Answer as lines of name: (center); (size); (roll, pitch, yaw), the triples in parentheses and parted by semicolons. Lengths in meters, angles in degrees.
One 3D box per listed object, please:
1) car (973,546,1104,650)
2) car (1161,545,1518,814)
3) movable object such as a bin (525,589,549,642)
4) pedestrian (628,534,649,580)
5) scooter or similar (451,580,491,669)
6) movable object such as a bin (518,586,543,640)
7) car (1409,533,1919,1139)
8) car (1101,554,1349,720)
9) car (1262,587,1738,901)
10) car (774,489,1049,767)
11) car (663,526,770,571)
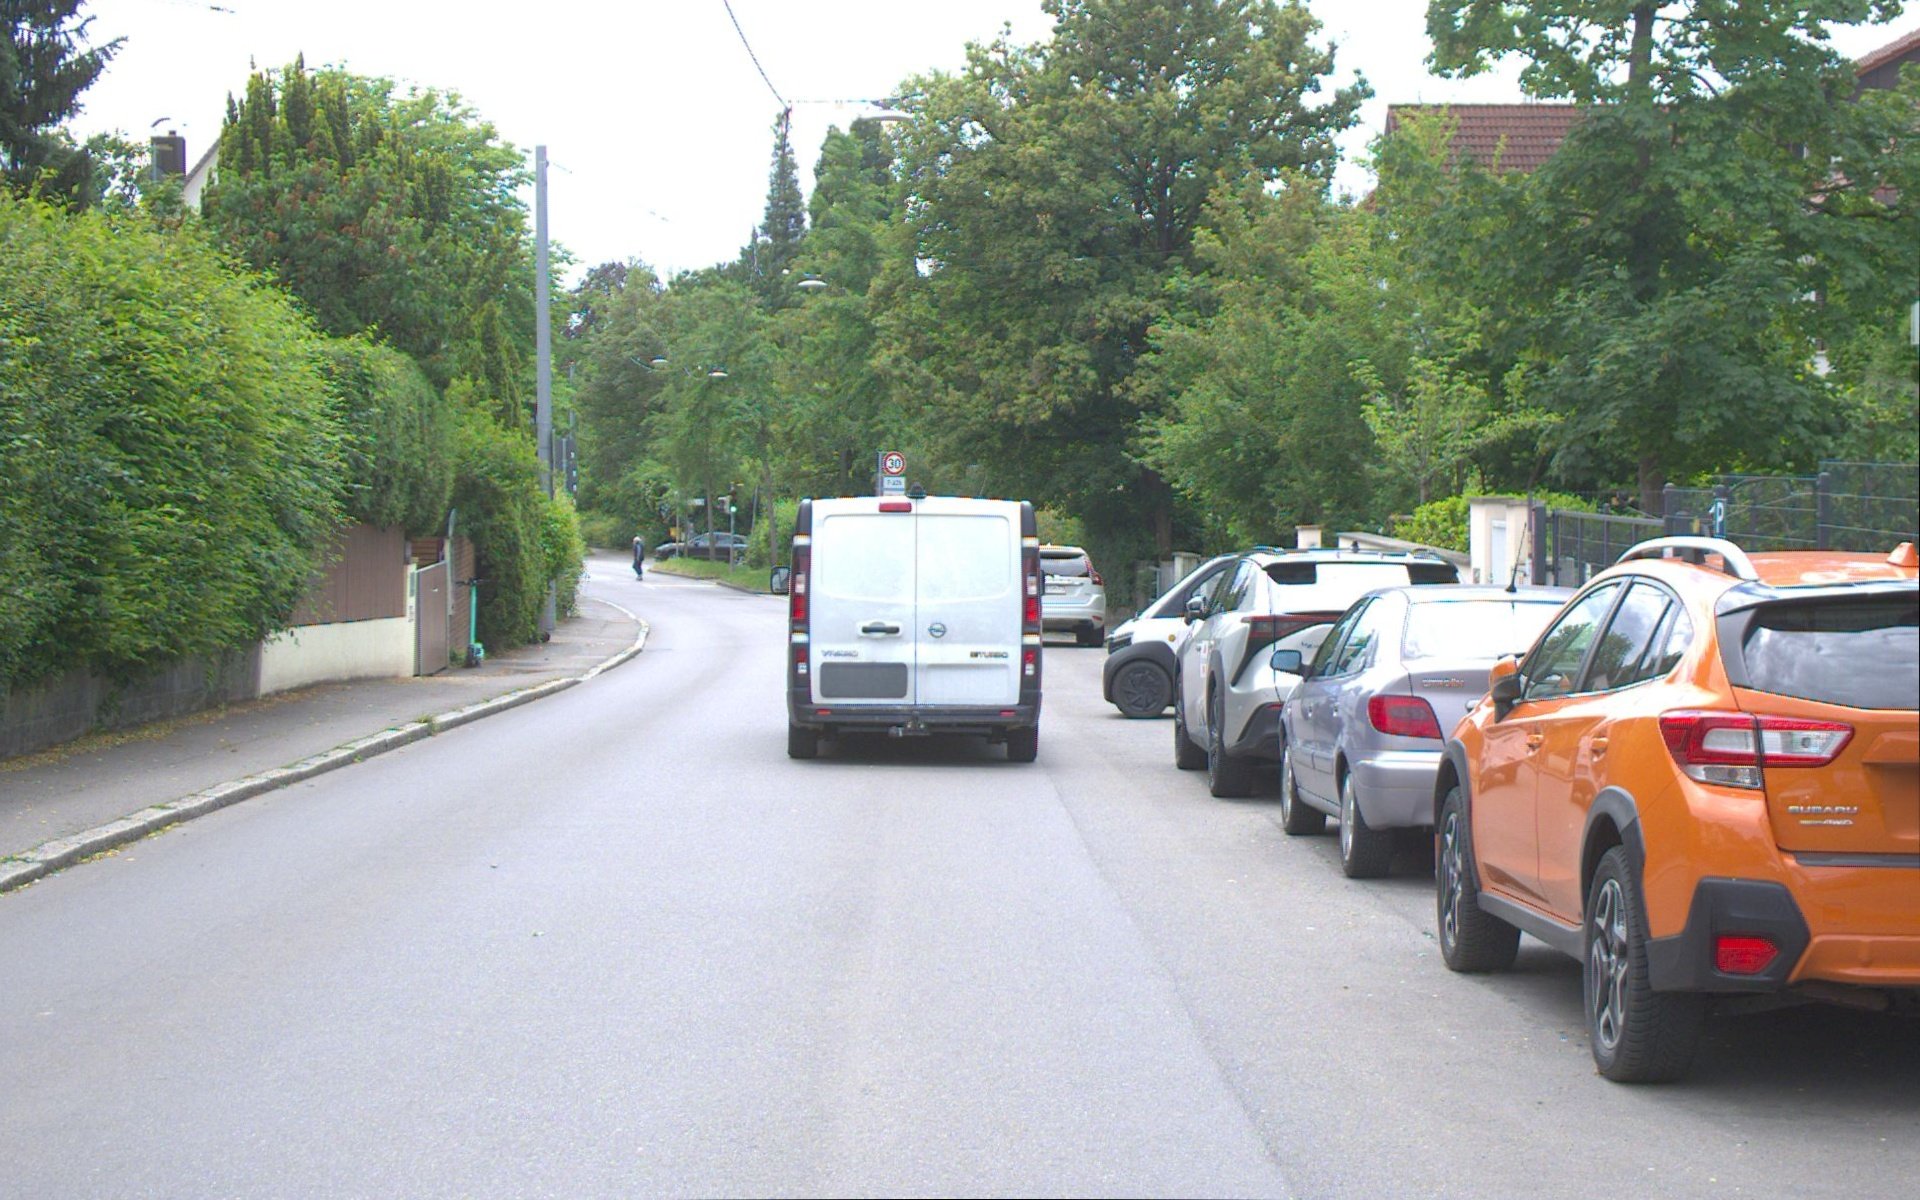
car: (1.290, -0.067, 58.430); (1.865, 1.679, 4.351); (1, 1, -3)
car: (2.443, 0.457, 23.185); (1.829, 1.618, 4.492); (1, 1, -1)
movable object such as a bin: (-7.200, 0.266, 58.475); (0.336, 0.890, 0.476); (1, 1, -1)
pedestrian: (-11.514, -1.555, 123.005); (0.697, 1.610, 0.715); (0, 3, -7)
scooter or similar: (-6.545, 0.318, 46.010); (0.391, 1.167, 1.270); (0, 1, -2)
movable object such as a bin: (-7.193, 0.211, 57.617); (0.336, 0.890, 0.476); (1, 1, 0)
car: (2.766, 0.627, 11.380); (1.850, 1.621, 4.170); (1, 1, -2)
car: (2.499, 0.334, 32.465); (2.287, 1.518, 1.318); (0, 1, 4)
car: (2.637, 0.646, 17.727); (1.716, 1.377, 4.236); (1, 1, -1)
car: (-0.433, 0.142, 26.631); (1.930, 1.957, 4.402); (1, 1, -2)
car: (-10.518, -2.232, 148.283); (4.388, 1.853, 1.904); (0, 1, -11)
